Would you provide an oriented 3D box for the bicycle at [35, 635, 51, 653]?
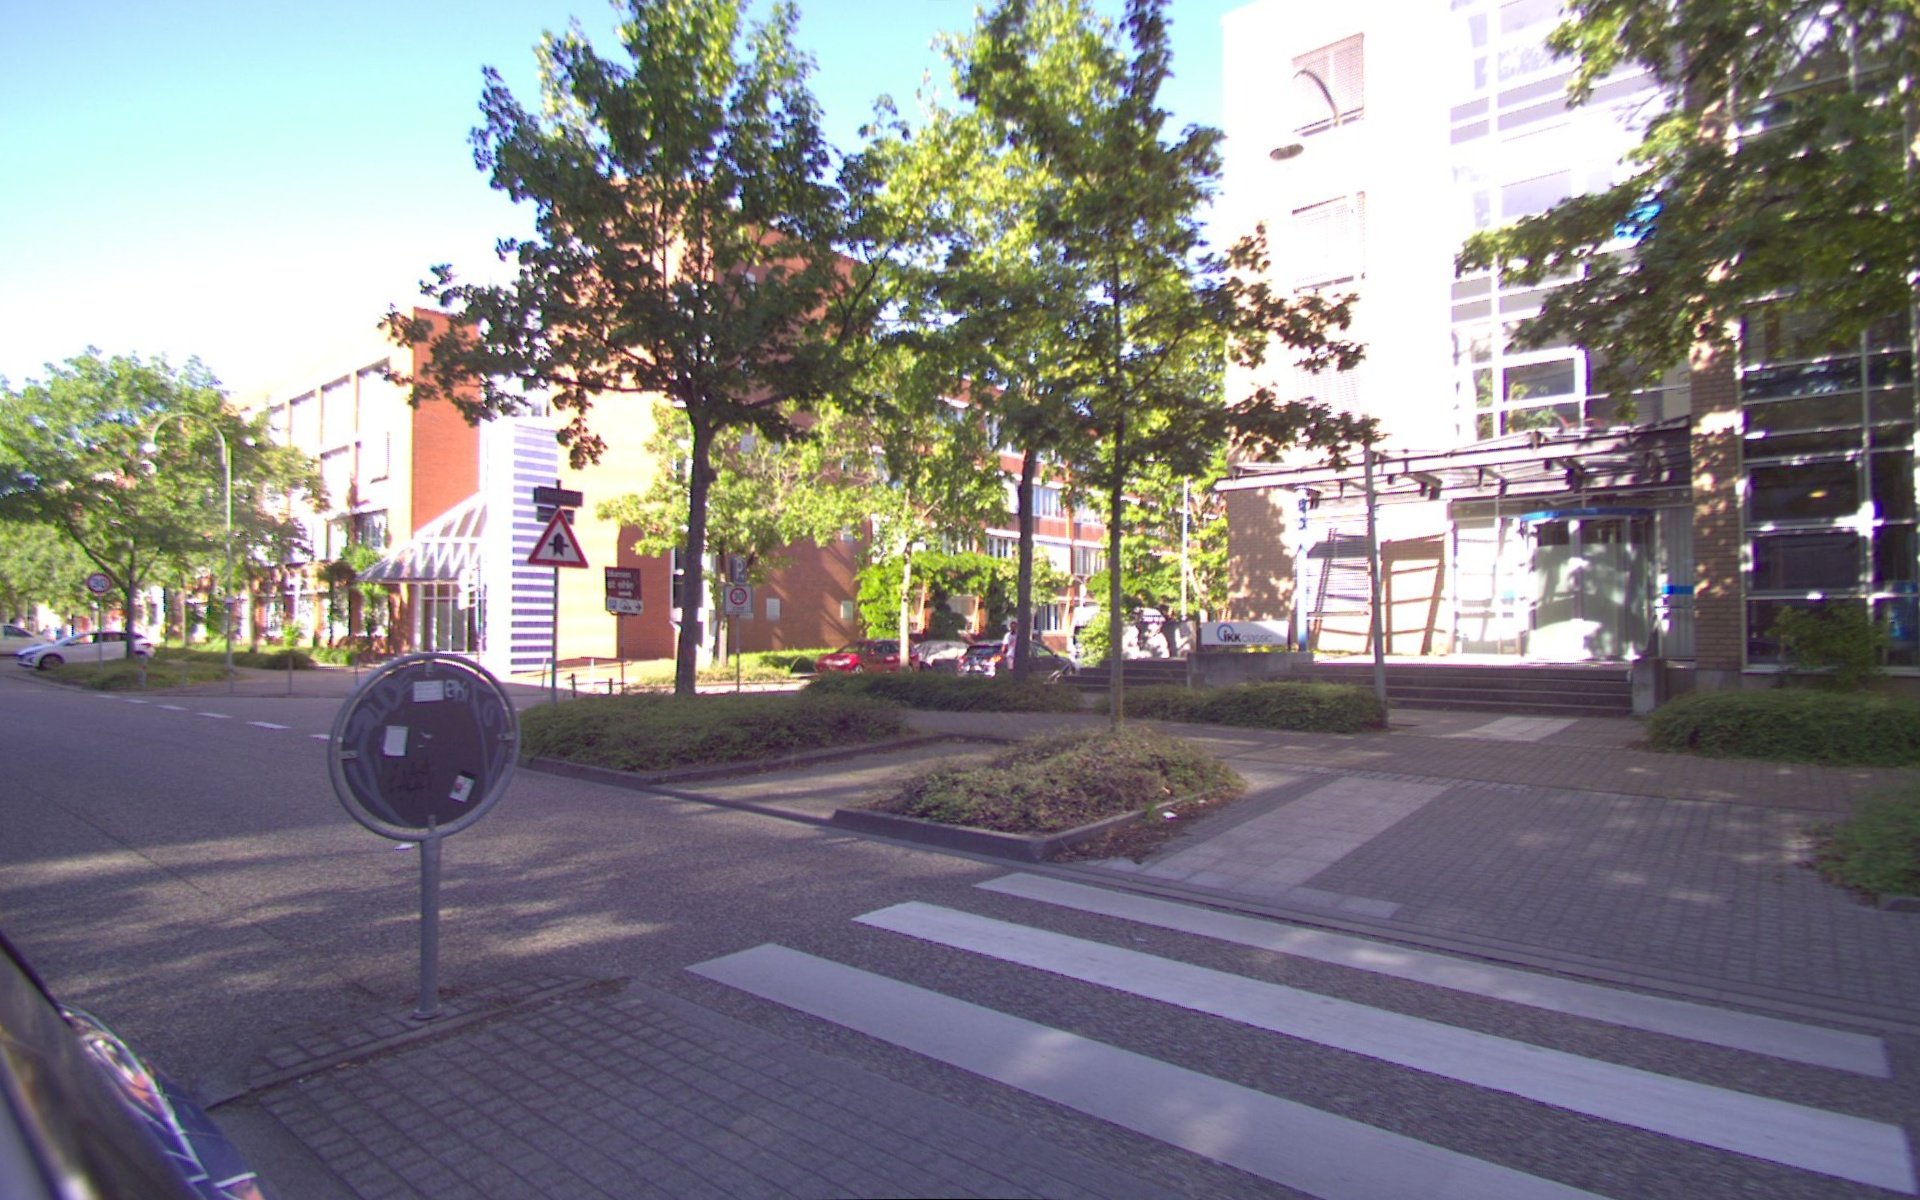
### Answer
[{"bbox_3d":[-58.455,2.806,64.503,2.155,1.107,0.628,-1,-1,44],"label":"bicycle"}]

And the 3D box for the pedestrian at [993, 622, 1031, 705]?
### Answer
[{"bbox_3d":[1.247,1.494,24.075,0.672,1.932,0.615,-2,-4,41],"label":"pedestrian"}]

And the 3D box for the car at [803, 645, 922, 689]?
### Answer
[{"bbox_3d":[-3.552,2.431,37.482,1.846,1.463,4.381,-2,-3,40],"label":"car"}]

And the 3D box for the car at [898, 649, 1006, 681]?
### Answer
[{"bbox_3d":[-0.267,2.635,41.700,1.846,1.196,4.660,-2,-3,40],"label":"car"}]

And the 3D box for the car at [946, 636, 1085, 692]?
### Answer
[{"bbox_3d":[1.736,1.854,30.181,1.845,1.519,4.663,-2,-3,38],"label":"car"}]

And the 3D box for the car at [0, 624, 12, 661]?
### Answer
[{"bbox_3d":[-58.678,2.461,59.144,1.999,2.186,4.575,-2,-4,41],"label":"car"}]

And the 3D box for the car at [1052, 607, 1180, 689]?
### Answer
[{"bbox_3d":[5.485,1.619,34.999,1.921,2.588,5.407,-2,-3,39],"label":"car"}]

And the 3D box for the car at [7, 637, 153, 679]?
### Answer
[{"bbox_3d":[-33.267,2.149,38.330,1.616,1.430,3.954,-2,-2,39],"label":"car"}]

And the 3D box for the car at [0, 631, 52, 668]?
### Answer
[{"bbox_3d":[-50.701,2.548,52.398,1.999,1.901,5.249,-2,-4,41],"label":"car"}]

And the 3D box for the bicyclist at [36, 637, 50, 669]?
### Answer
[{"bbox_3d":[-58.383,3.365,64.440,0.609,2.029,0.625,-2,-1,43],"label":"bicyclist"}]
